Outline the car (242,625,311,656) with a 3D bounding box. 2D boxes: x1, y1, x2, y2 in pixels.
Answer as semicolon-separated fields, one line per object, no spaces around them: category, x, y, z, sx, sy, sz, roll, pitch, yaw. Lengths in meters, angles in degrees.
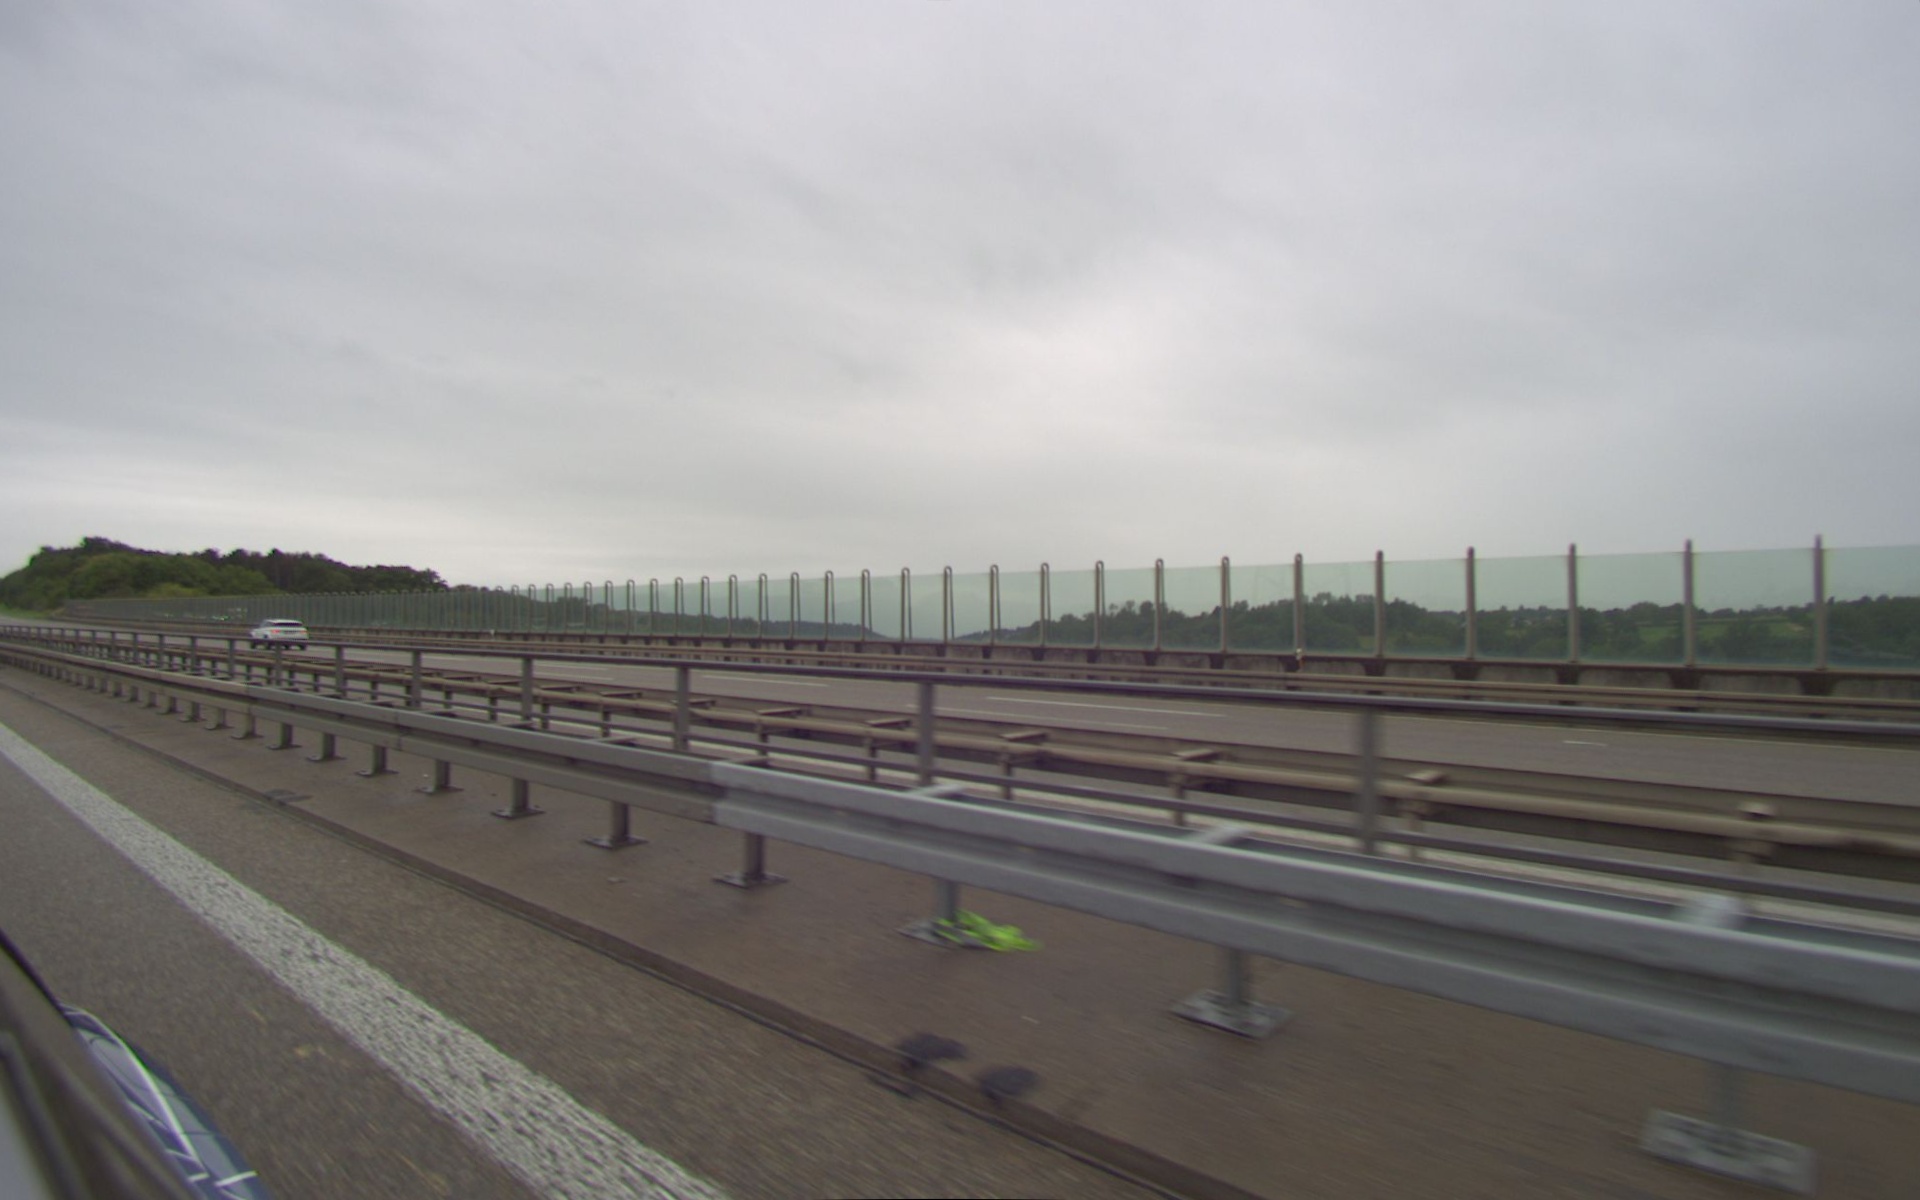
car;-37.209;2.174;55.032;4.711;1.642;1.972;-1;-2;42
